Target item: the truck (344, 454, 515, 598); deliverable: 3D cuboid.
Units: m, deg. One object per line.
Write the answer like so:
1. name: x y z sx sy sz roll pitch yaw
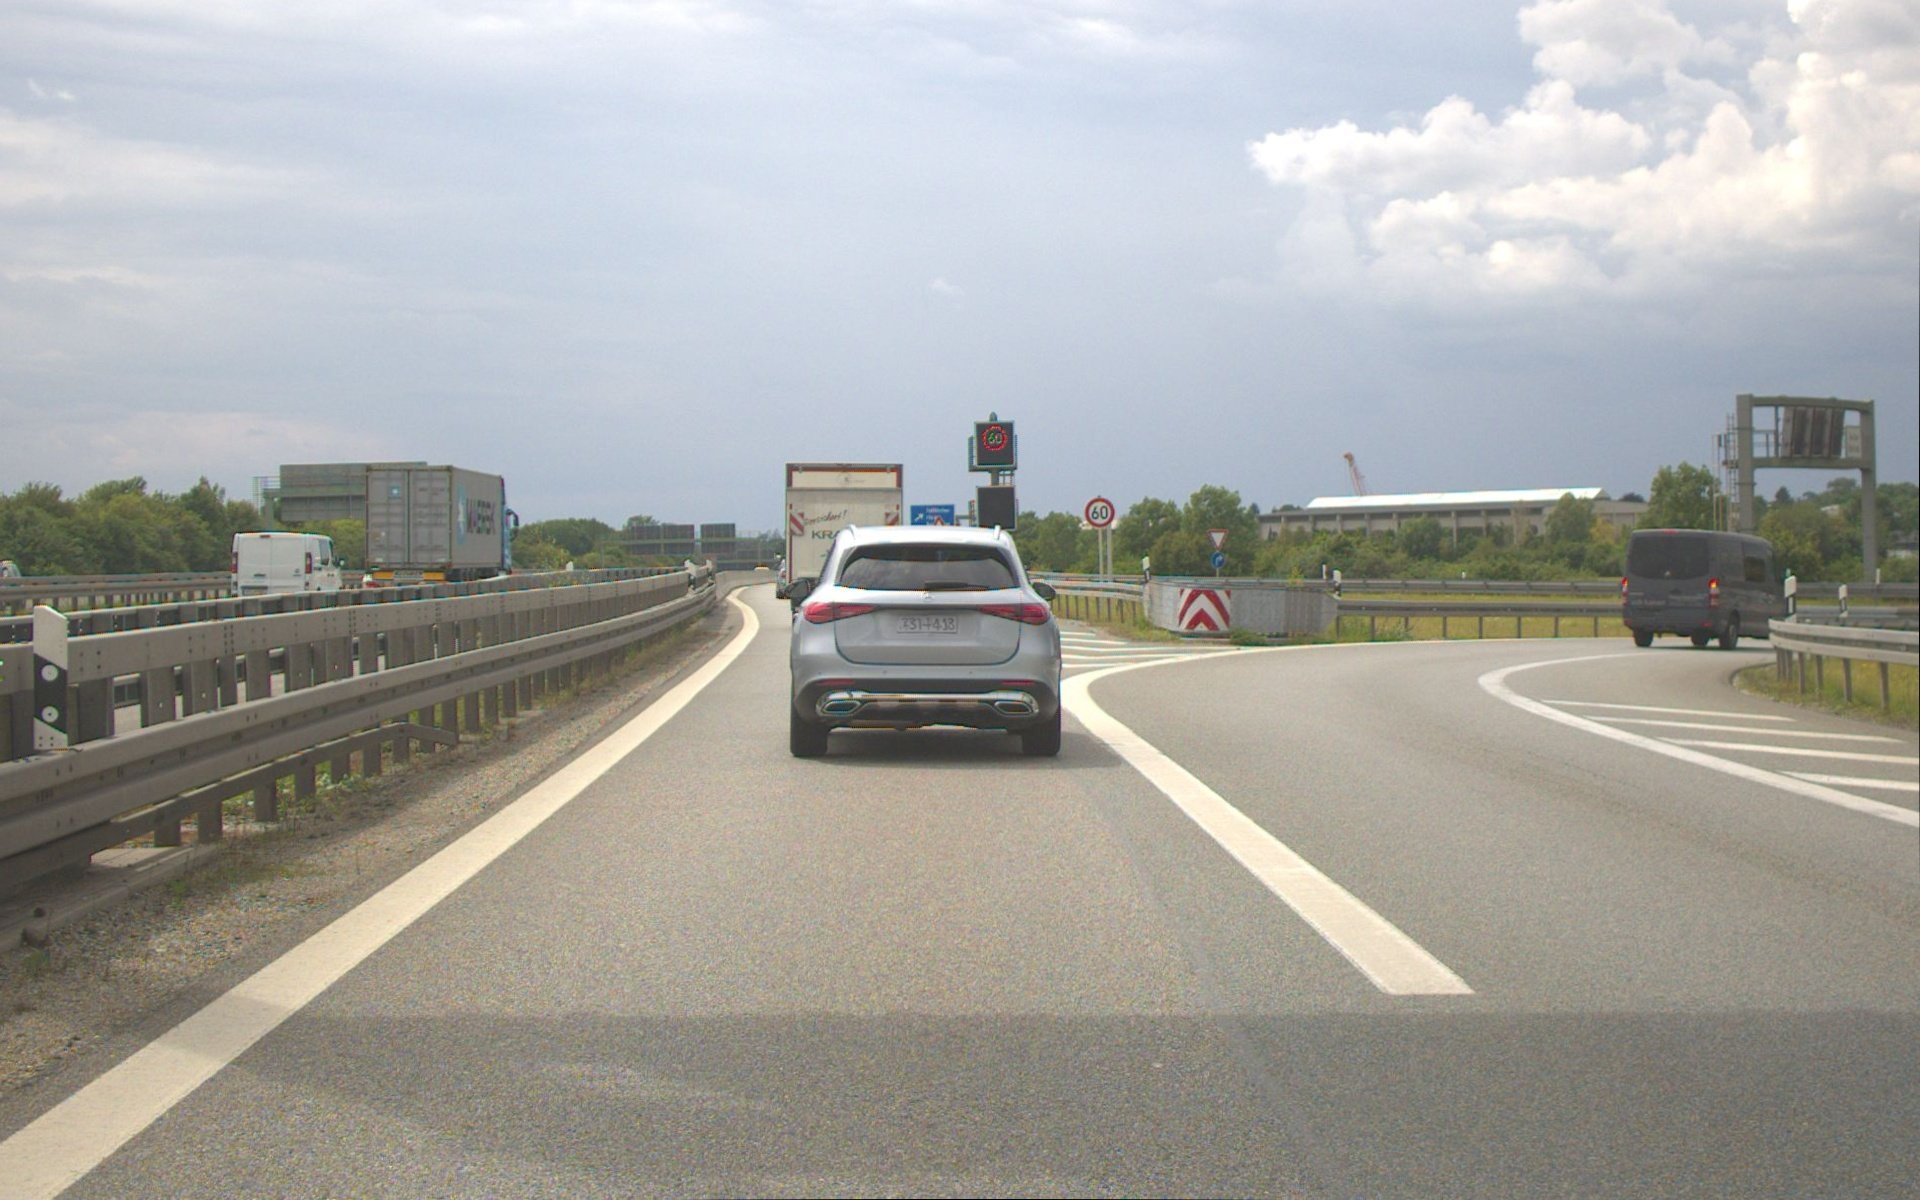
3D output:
1. truck: -15.810 -2.346 103.720 3.183 4.005 16.078 0 2 -2

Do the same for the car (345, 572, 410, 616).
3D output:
1. car: -20.229 -0.220 119.472 1.797 1.415 4.001 0 2 -3

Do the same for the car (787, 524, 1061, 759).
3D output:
1. car: -0.264 0.234 24.872 1.819 1.509 4.001 0 2 -1

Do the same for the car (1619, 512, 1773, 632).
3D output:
1. car: 14.668 -0.607 68.354 1.909 2.254 4.643 1 2 26

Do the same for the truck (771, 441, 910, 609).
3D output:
1. truck: -2.311 -1.451 68.317 2.569 3.115 8.635 0 1 -1

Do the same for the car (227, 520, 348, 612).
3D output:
1. car: -15.487 -0.818 79.369 1.993 2.006 4.375 0 2 -1
